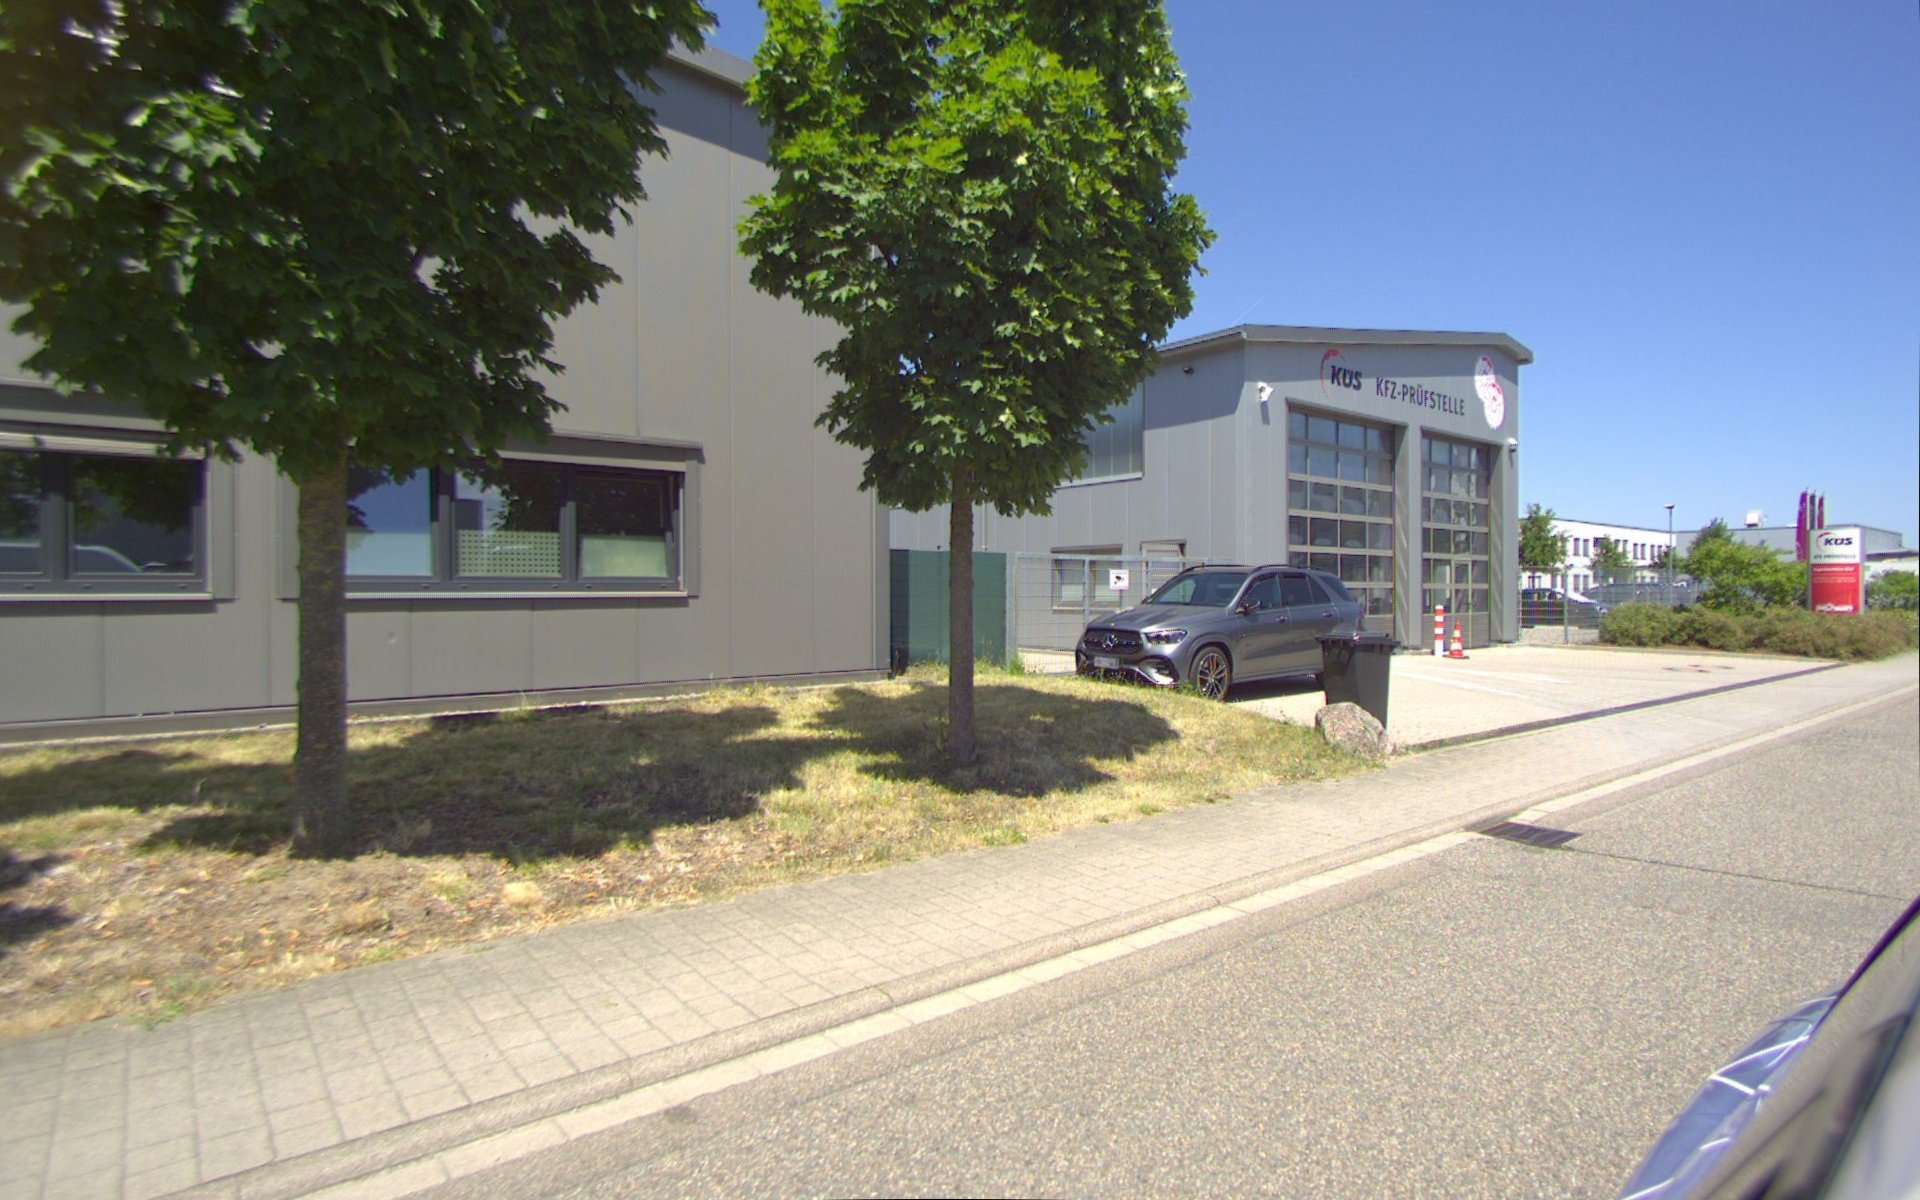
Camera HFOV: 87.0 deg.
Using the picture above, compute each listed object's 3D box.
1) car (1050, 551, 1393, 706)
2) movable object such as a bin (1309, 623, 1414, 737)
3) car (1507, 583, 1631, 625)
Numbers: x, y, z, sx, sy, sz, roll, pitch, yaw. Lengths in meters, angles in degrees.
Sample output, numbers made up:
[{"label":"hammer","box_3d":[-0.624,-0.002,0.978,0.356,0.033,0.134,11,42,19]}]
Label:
[{"label":"car","box_3d":[3.801,0.281,14.343,4.823,1.833,2.158,-1,2,-37]},{"label":"movable object such as a bin","box_3d":[4.050,0.784,10.219,0.793,1.059,0.618,0,1,-26]},{"label":"car","box_3d":[21.170,0.136,35.226,1.763,1.387,3.353,0,-1,-43]}]
